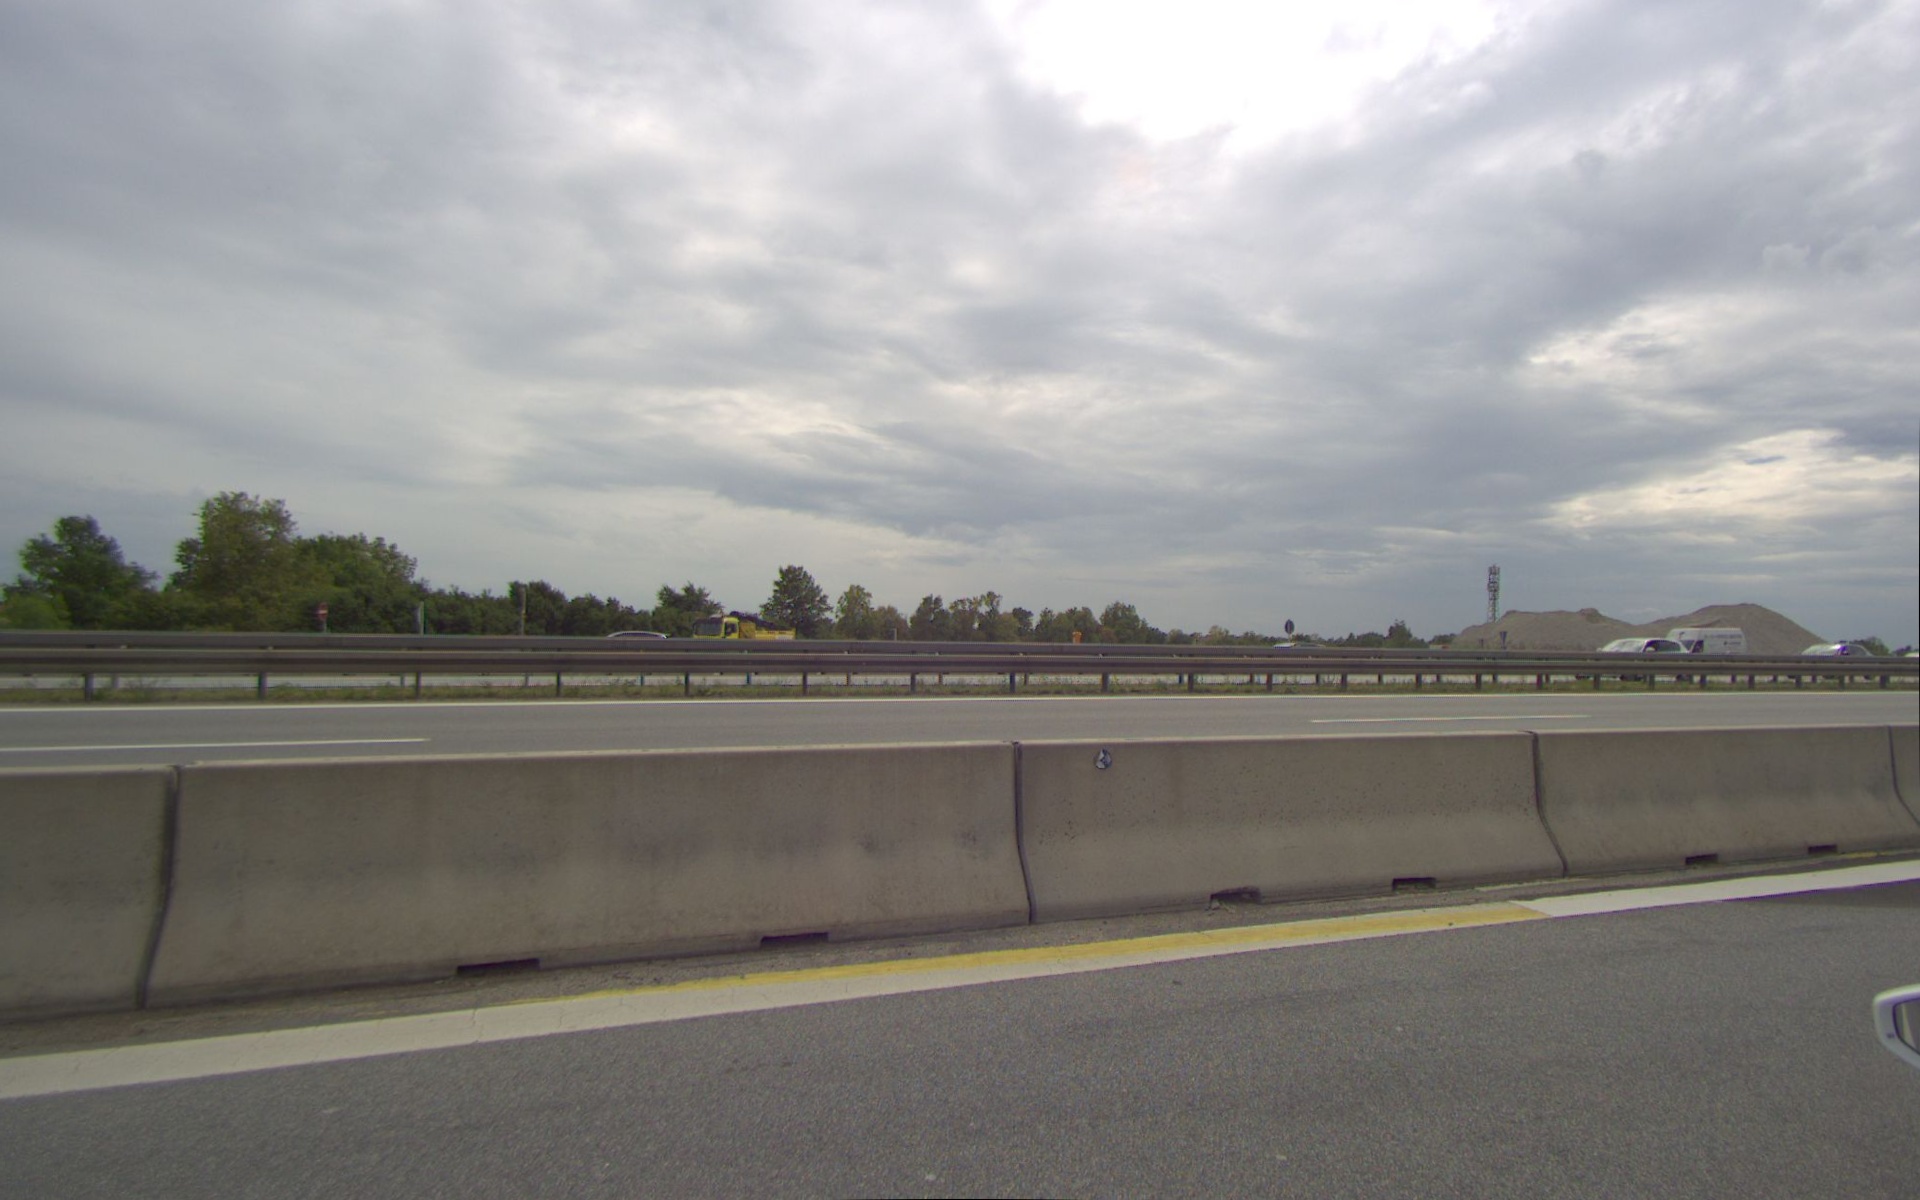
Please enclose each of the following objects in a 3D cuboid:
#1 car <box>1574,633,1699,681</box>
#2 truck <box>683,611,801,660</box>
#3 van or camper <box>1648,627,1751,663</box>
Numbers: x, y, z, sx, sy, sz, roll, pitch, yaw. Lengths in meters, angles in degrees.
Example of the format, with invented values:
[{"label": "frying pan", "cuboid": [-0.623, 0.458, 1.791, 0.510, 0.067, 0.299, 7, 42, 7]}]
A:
[{"label": "car", "cuboid": [22.332, 1.853, 33.148, 3.952, 1.442, 1.884, 2, -1, -30]}, {"label": "truck", "cuboid": [-13.474, 2.199, 63.104, 2.859, 2.810, 8.780, 1, -1, 21]}, {"label": "van or camper", "cuboid": [44.488, 2.716, 60.393, 6.191, 2.040, 2.229, 2, -1, -24]}]
